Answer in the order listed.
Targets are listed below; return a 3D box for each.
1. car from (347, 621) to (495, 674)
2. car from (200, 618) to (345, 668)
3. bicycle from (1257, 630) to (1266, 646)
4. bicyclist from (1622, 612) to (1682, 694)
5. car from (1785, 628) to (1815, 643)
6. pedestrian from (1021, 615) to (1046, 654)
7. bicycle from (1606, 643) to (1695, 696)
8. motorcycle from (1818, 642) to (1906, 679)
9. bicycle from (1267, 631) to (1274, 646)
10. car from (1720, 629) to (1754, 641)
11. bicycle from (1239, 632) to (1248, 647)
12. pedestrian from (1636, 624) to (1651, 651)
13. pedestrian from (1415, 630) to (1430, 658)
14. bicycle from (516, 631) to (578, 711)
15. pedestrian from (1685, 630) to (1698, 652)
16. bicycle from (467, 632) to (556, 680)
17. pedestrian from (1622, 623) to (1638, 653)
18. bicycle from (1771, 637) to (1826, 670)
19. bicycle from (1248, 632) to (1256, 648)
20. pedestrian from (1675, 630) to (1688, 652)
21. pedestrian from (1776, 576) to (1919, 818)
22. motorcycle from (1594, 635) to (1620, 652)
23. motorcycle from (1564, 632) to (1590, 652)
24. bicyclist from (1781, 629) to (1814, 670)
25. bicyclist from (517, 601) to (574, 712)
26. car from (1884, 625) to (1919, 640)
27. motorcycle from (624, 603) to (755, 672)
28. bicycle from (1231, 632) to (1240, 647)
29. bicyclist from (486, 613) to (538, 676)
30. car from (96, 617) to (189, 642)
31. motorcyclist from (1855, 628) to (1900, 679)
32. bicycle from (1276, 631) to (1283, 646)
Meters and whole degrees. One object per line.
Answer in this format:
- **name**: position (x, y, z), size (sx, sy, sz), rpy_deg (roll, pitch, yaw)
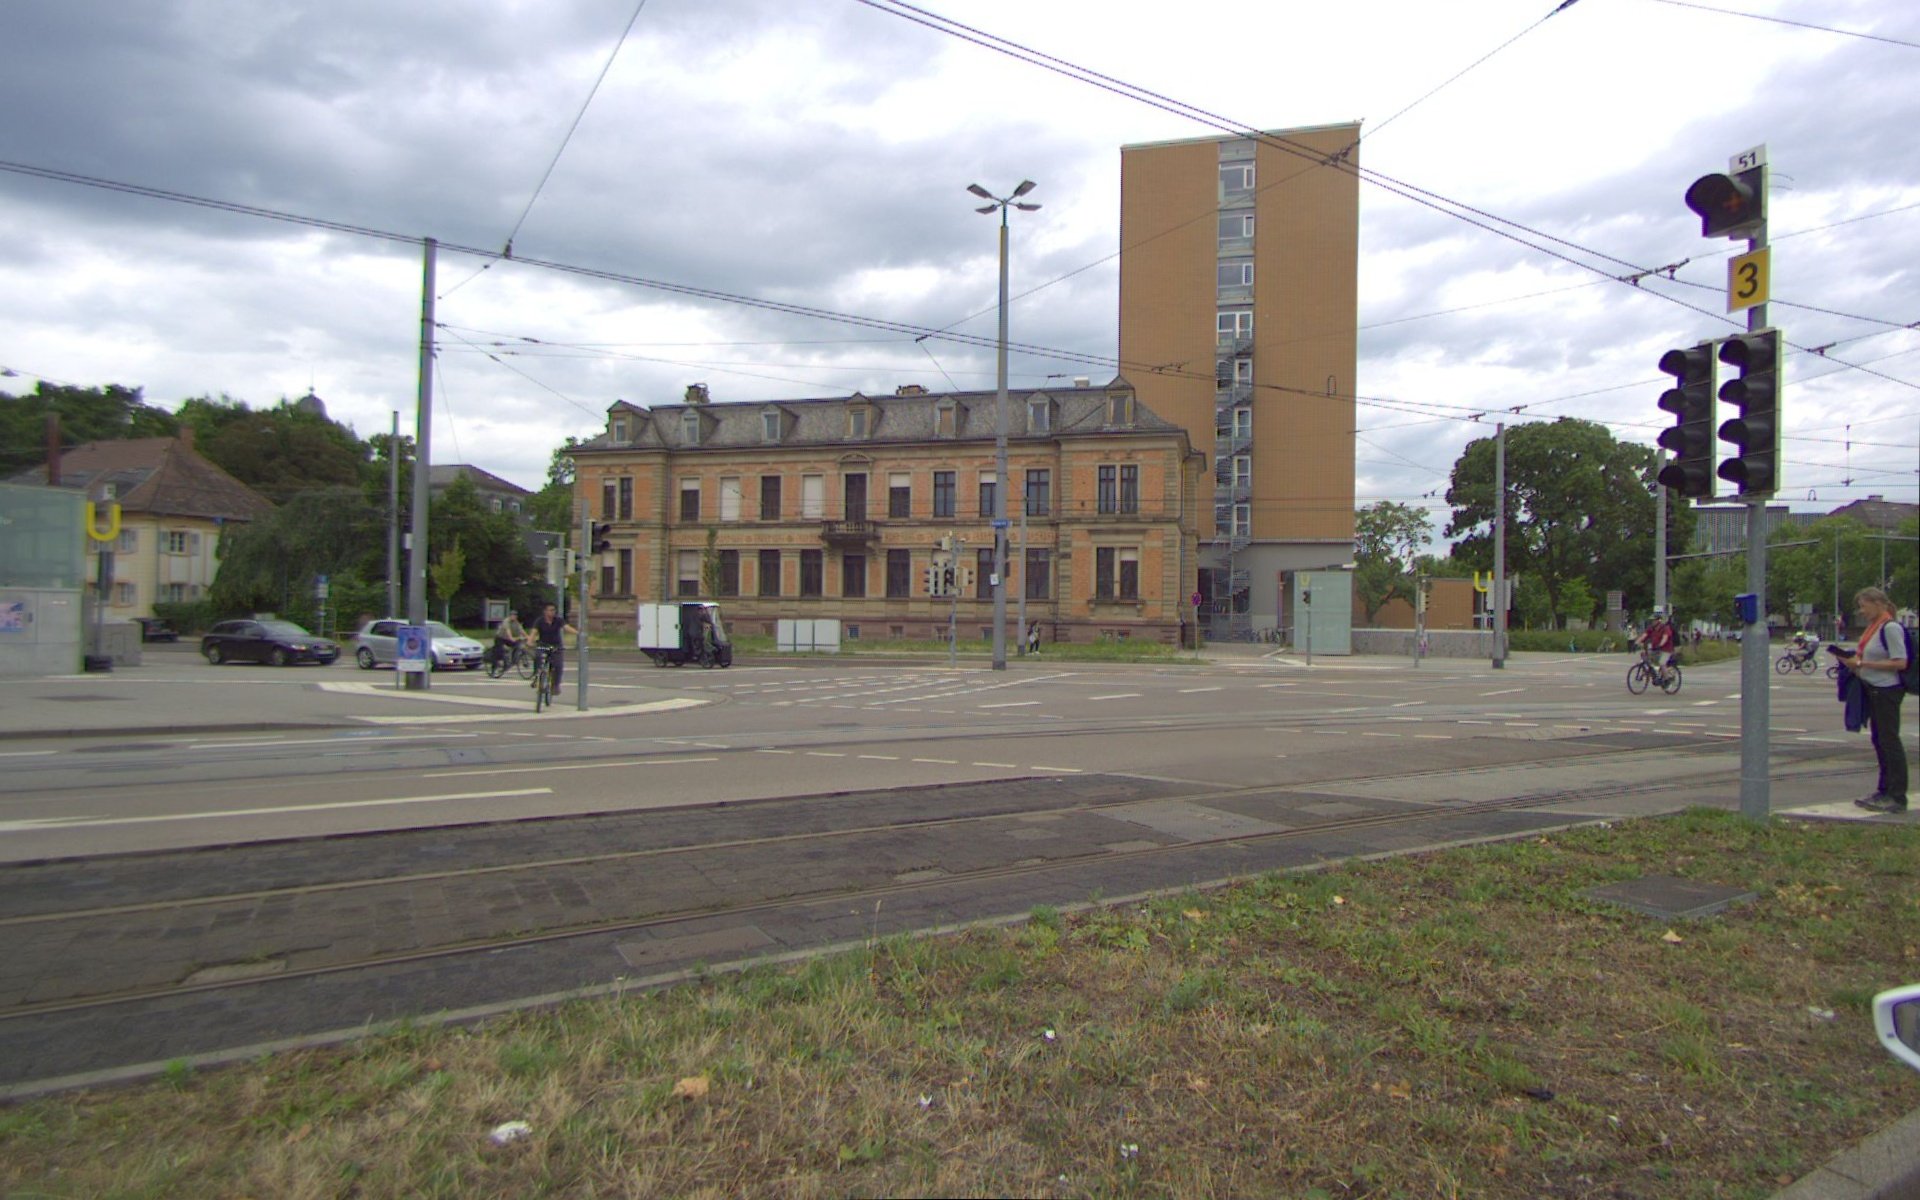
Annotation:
- **car**: position (-16.246, 1.383, 30.259), size (4.081, 1.473, 1.761), rpy_deg (0, -1, 23)
- **car**: position (-22.044, 1.354, 32.229), size (4.061, 1.468, 1.697), rpy_deg (1, -1, 18)
- **bicycle**: position (22.197, 2.807, 73.965), size (0.561, 1.120, 1.428), rpy_deg (1, -1, 18)
- **bicyclist**: position (16.648, 1.265, 24.187), size (0.982, 1.923, 0.774), rpy_deg (1, -1, -21)
- **car**: position (106.164, 4.482, 127.023), size (1.683, 1.795, 3.999), rpy_deg (0, -1, 21)
- **pedestrian**: position (3.403, 1.593, 46.311), size (1.104, 1.786, 0.759), rpy_deg (1, -1, 8)
- **bicycle**: position (16.606, 1.659, 24.163), size (2.002, 1.200, 0.773), rpy_deg (1, -1, -21)
- **motorcycle**: position (30.695, 2.053, 34.237), size (2.102, 1.154, 0.743), rpy_deg (0, -1, 28)
- **bicycle**: position (22.821, 2.816, 73.767), size (0.500, 1.063, 1.428), rpy_deg (1, -1, 18)
- **car**: position (95.370, 4.270, 123.310), size (1.746, 1.483, 4.002), rpy_deg (1, -1, 14)
- **bicycle**: position (20.991, 2.913, 74.302), size (0.561, 1.120, 1.428), rpy_deg (1, -1, 18)
- **pedestrian**: position (51.066, 2.814, 75.024), size (0.781, 2.007, 0.880), rpy_deg (1, -2, 26)
- **pedestrian**: position (23.234, 2.198, 50.439), size (0.562, 1.353, 0.499), rpy_deg (1, -1, 10)
- **bicycle**: position (-7.056, 1.169, 17.089), size (0.805, 1.259, 1.986), rpy_deg (0, -2, -27)
- **pedestrian**: position (67.866, 3.823, 93.182), size (0.868, 2.007, 0.792), rpy_deg (0, -2, 42)
- **bicycle**: position (-11.868, 1.466, 26.598), size (2.154, 1.224, 0.857), rpy_deg (0, -2, 20)
- **pedestrian**: position (45.342, 2.588, 67.993), size (0.781, 2.007, 0.880), rpy_deg (1, -2, 26)
- **bicycle**: position (35.542, 2.268, 42.595), size (1.701, 1.339, 0.646), rpy_deg (1, -1, 13)
- **bicycle**: position (21.554, 2.931, 74.132), size (0.561, 1.120, 1.428), rpy_deg (1, -1, 18)
- **pedestrian**: position (67.837, 3.828, 94.482), size (0.790, 2.007, 0.870), rpy_deg (3, -2, -42)
- **pedestrian**: position (7.697, 0.785, 8.439), size (1.082, 1.932, 0.736), rpy_deg (1, 0, 18)
- **motorcycle**: position (43.684, 2.950, 67.838), size (1.716, 1.126, 0.510), rpy_deg (1, -1, -17)
- **motorcycle**: position (41.581, 2.808, 67.712), size (1.443, 1.285, 0.512), rpy_deg (1, -1, 14)
- **bicyclist**: position (35.517, 2.082, 42.599), size (0.839, 1.695, 0.655), rpy_deg (1, -1, 13)
- **bicyclist**: position (-7.086, 0.938, 17.158), size (0.805, 1.822, 1.022), rpy_deg (0, 0, -28)
- **car**: position (101.041, 3.478, 106.790), size (1.749, 1.483, 3.995), rpy_deg (1, -1, -7)
- **motorcycle**: position (-8.485, 1.135, 31.563), size (3.614, 2.040, 1.696), rpy_deg (1, -1, 19)
- **bicycle**: position (20.427, 2.911, 74.475), size (0.561, 1.120, 1.428), rpy_deg (1, -1, 18)
- **bicyclist**: position (-11.857, 1.167, 26.606), size (0.899, 1.644, 0.855), rpy_deg (0, -1, 20)
- **car**: position (-45.034, 1.599, 55.354), size (3.919, 1.305, 1.936), rpy_deg (1, -1, 12)
- **motorcyclist**: position (31.095, 1.805, 34.046), size (0.962, 1.671, 0.749), rpy_deg (0, -1, 28)
- **bicycle**: position (23.395, 2.802, 73.643), size (0.472, 1.063, 1.428), rpy_deg (1, -1, 18)
